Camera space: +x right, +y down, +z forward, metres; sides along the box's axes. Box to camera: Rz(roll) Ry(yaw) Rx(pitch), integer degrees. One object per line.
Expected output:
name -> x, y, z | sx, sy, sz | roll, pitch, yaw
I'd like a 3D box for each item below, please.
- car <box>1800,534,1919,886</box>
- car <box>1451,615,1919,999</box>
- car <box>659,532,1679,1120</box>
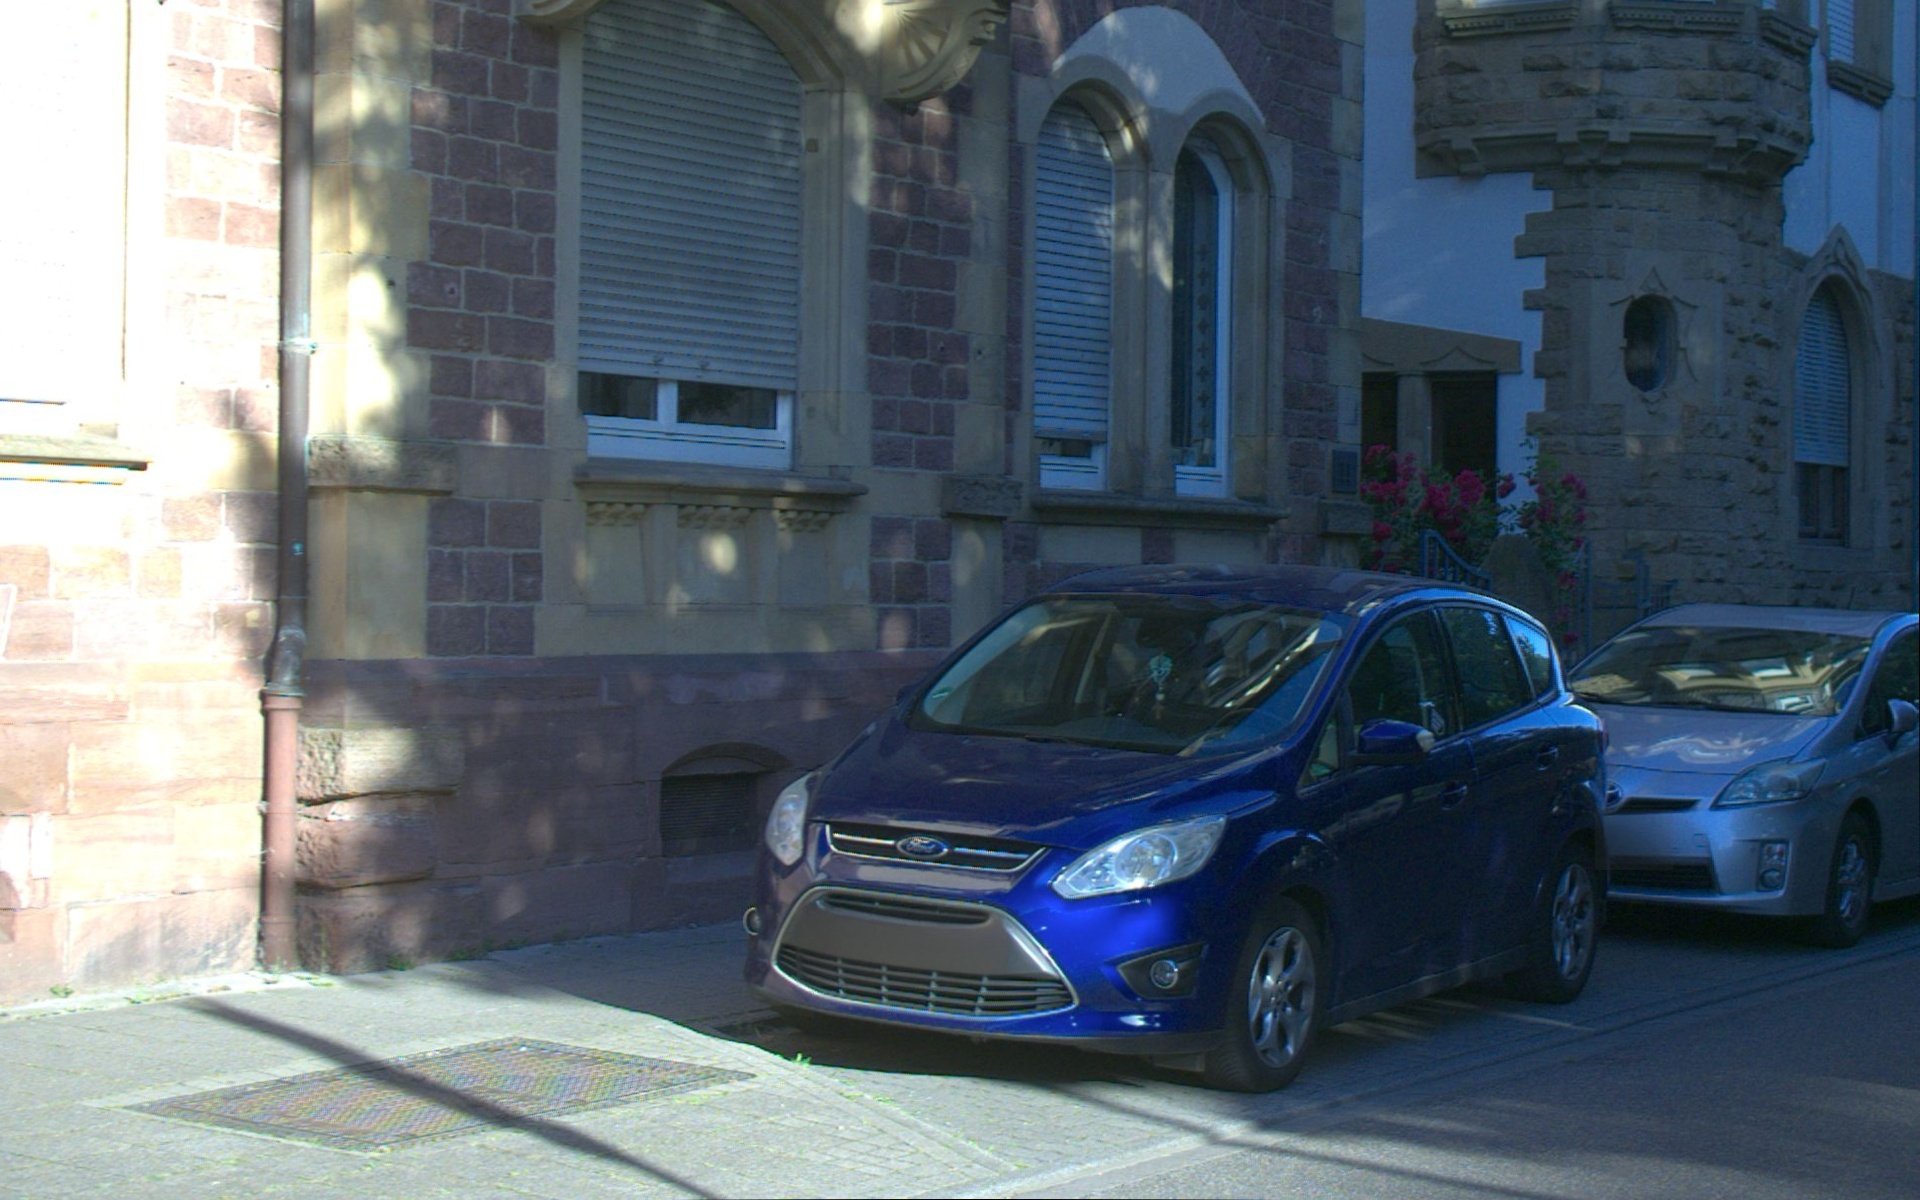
car -> 6.872, 0.671, 21.197 | 1.972, 1.967, 4.490 | 3, 1, 31
car -> 4.056, 0.875, 16.447 | 1.732, 1.494, 4.447 | 3, 1, 31
car -> 0.939, 0.706, 12.068 | 1.732, 1.616, 4.251 | 3, 0, 31
